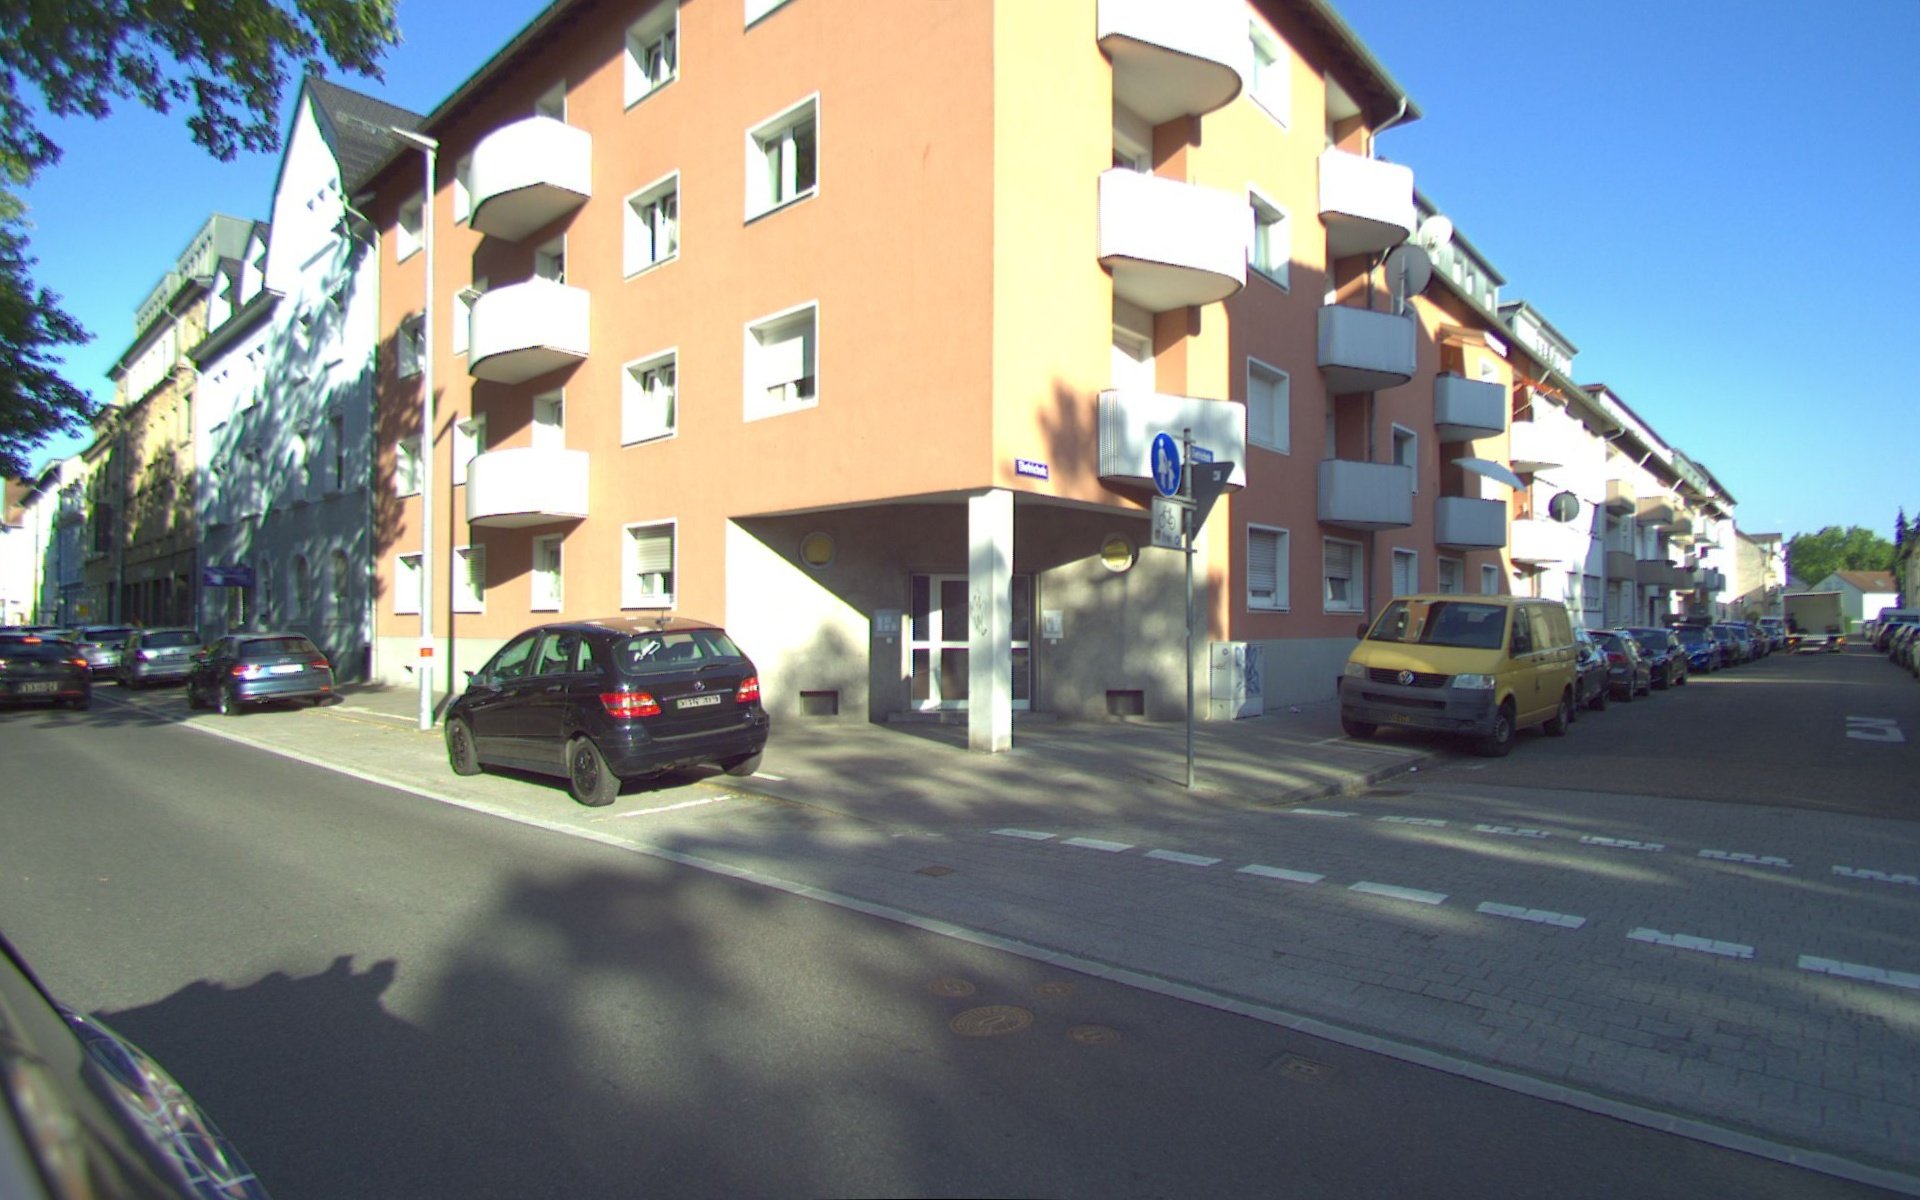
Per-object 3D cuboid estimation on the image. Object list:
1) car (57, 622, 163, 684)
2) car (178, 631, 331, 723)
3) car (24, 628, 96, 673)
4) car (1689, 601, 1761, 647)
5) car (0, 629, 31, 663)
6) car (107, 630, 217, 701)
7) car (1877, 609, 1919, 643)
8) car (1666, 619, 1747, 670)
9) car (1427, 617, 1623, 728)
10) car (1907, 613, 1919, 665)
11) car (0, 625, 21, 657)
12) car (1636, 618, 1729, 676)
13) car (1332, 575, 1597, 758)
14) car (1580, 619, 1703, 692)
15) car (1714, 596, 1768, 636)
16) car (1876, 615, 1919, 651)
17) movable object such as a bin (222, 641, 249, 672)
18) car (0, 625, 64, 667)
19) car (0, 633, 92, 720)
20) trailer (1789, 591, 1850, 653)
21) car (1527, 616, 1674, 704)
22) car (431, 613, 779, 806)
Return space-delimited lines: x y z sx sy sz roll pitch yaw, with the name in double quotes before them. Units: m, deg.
"car" -25.321 1.508 30.093 4.577 1.654 1.887 -2 0 43
"car" -13.350 1.370 19.089 3.601 1.497 1.659 -2 0 43
"car" -33.446 1.829 37.586 3.872 1.507 1.659 -2 0 43
"car" 31.474 0.995 41.586 1.920 1.781 4.246 -1 -2 43
"car" -48.420 2.312 51.389 1.658 1.617 3.707 -1 0 -45
"car" -20.839 1.631 26.379 3.985 1.654 1.659 -2 0 43
"car" 54.959 1.492 58.971 1.998 1.866 4.637 0 0 39
"car" 27.678 1.622 37.498 1.920 1.781 4.246 -1 -2 43
"car" 9.701 1.139 17.216 1.920 1.638 4.400 -1 -2 43
"car" 34.482 1.359 35.371 1.919 1.781 4.248 -1 -2 42
"car" -52.553 2.247 55.114 4.156 1.685 1.762 -2 0 43
"car" 23.605 1.493 33.009 1.920 1.781 4.246 -1 -2 43
"car" 6.923 0.803 13.614 1.920 2.029 4.694 -1 -2 43
"car" 17.383 1.355 25.736 1.920 1.711 4.246 -1 -2 43
"car" 41.761 0.833 54.077 1.999 2.029 3.945 0 0 42
"car" 50.688 1.739 54.360 1.999 1.794 3.947 0 0 40
"movable object such as a bin" -22.855 1.786 31.942 0.669 0.954 0.551 -2 -3 43
"car" -38.023 1.852 41.399 4.200 1.597 1.659 -2 0 43
"car" -18.377 1.421 19.680 4.321 1.490 1.752 -2 0 42
"trailer" 43.279 1.039 50.945 2.239 2.915 5.069 0 1 41
"car" 13.963 1.225 21.957 1.920 1.711 4.246 -1 -2 43
"car" -3.729 0.940 10.243 4.021 1.535 1.659 -2 0 43
